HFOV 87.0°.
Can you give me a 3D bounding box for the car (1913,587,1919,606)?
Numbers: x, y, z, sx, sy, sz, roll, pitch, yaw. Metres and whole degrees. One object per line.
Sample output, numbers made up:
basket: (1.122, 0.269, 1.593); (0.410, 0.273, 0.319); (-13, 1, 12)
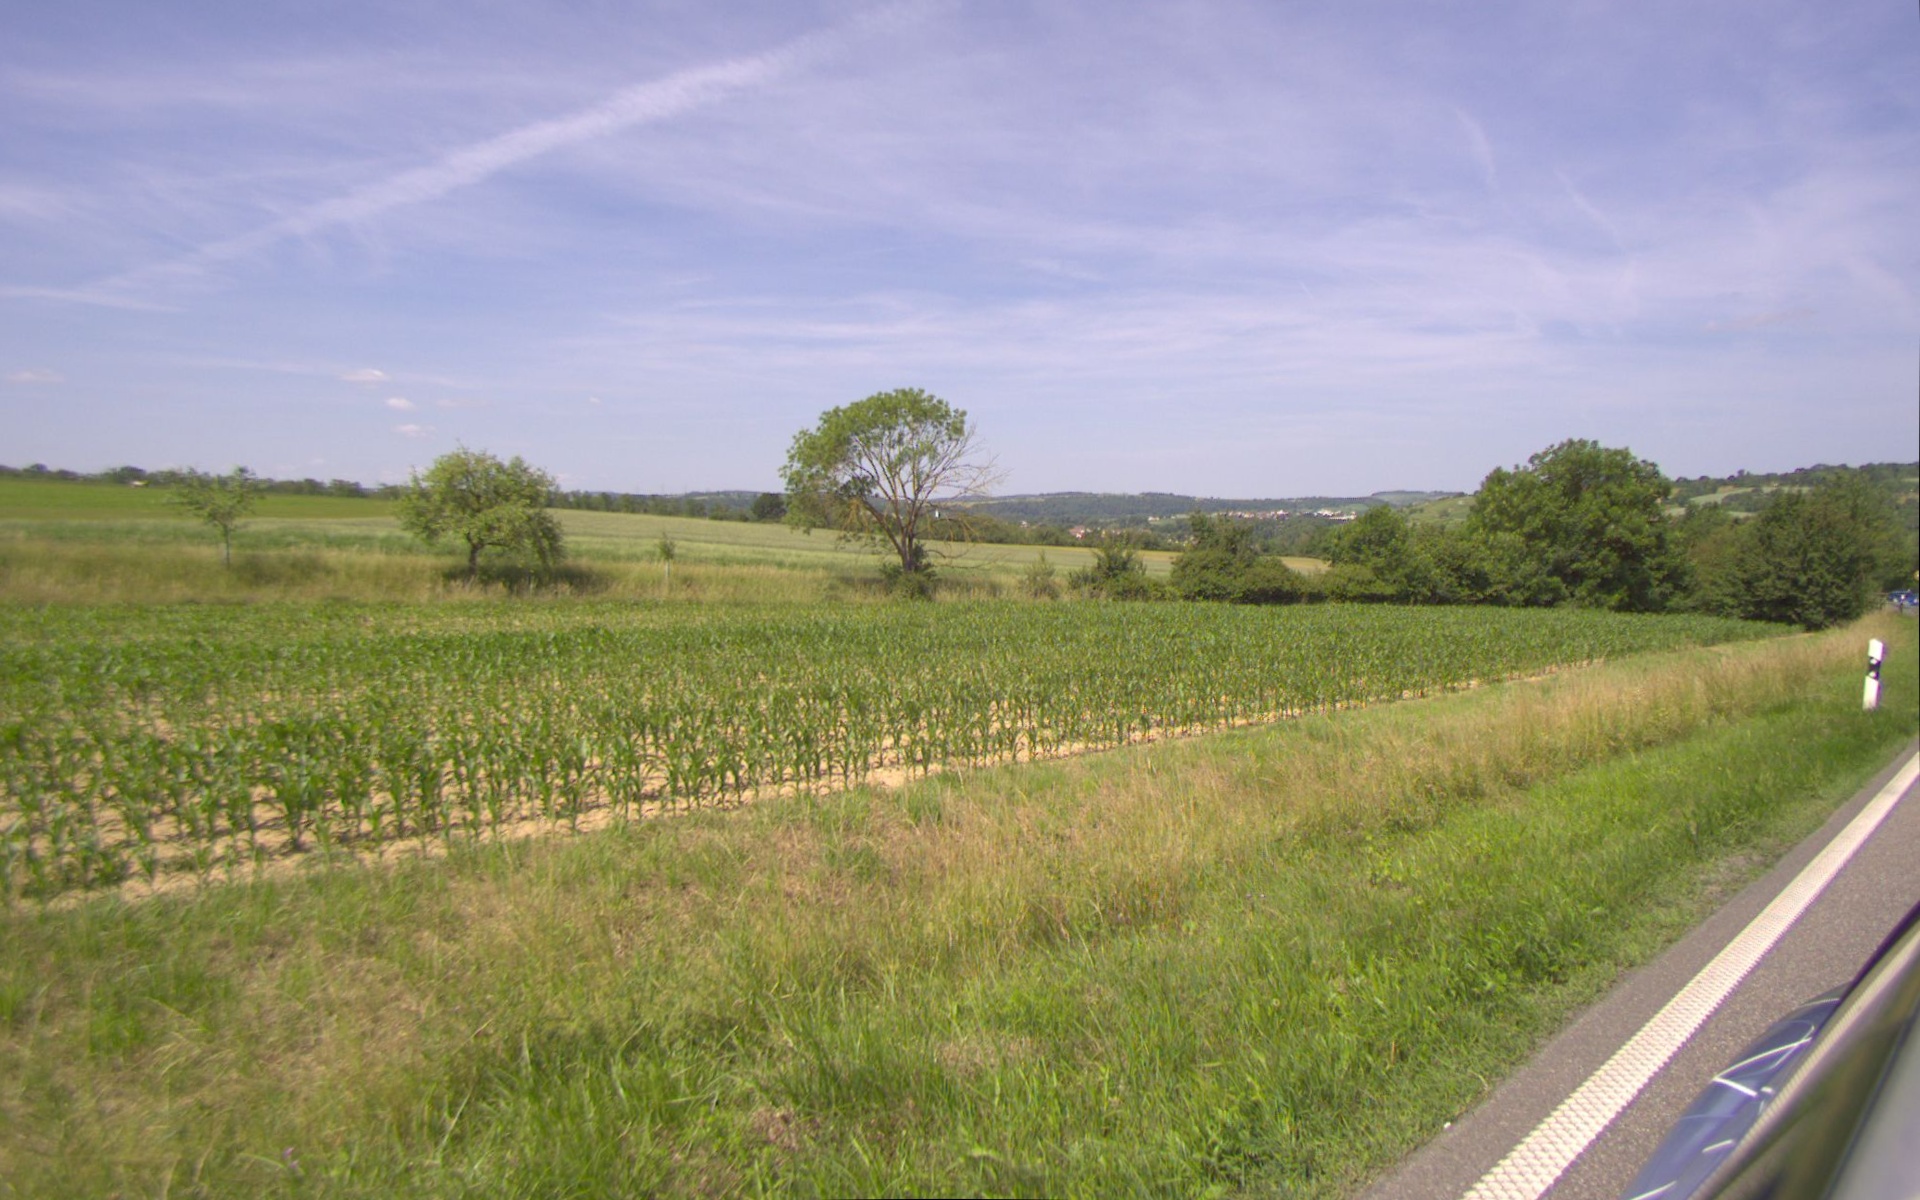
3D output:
car: (78.132, -0.319, 81.739); (1.631, 1.550, 3.853); (-2, -1, 44)
